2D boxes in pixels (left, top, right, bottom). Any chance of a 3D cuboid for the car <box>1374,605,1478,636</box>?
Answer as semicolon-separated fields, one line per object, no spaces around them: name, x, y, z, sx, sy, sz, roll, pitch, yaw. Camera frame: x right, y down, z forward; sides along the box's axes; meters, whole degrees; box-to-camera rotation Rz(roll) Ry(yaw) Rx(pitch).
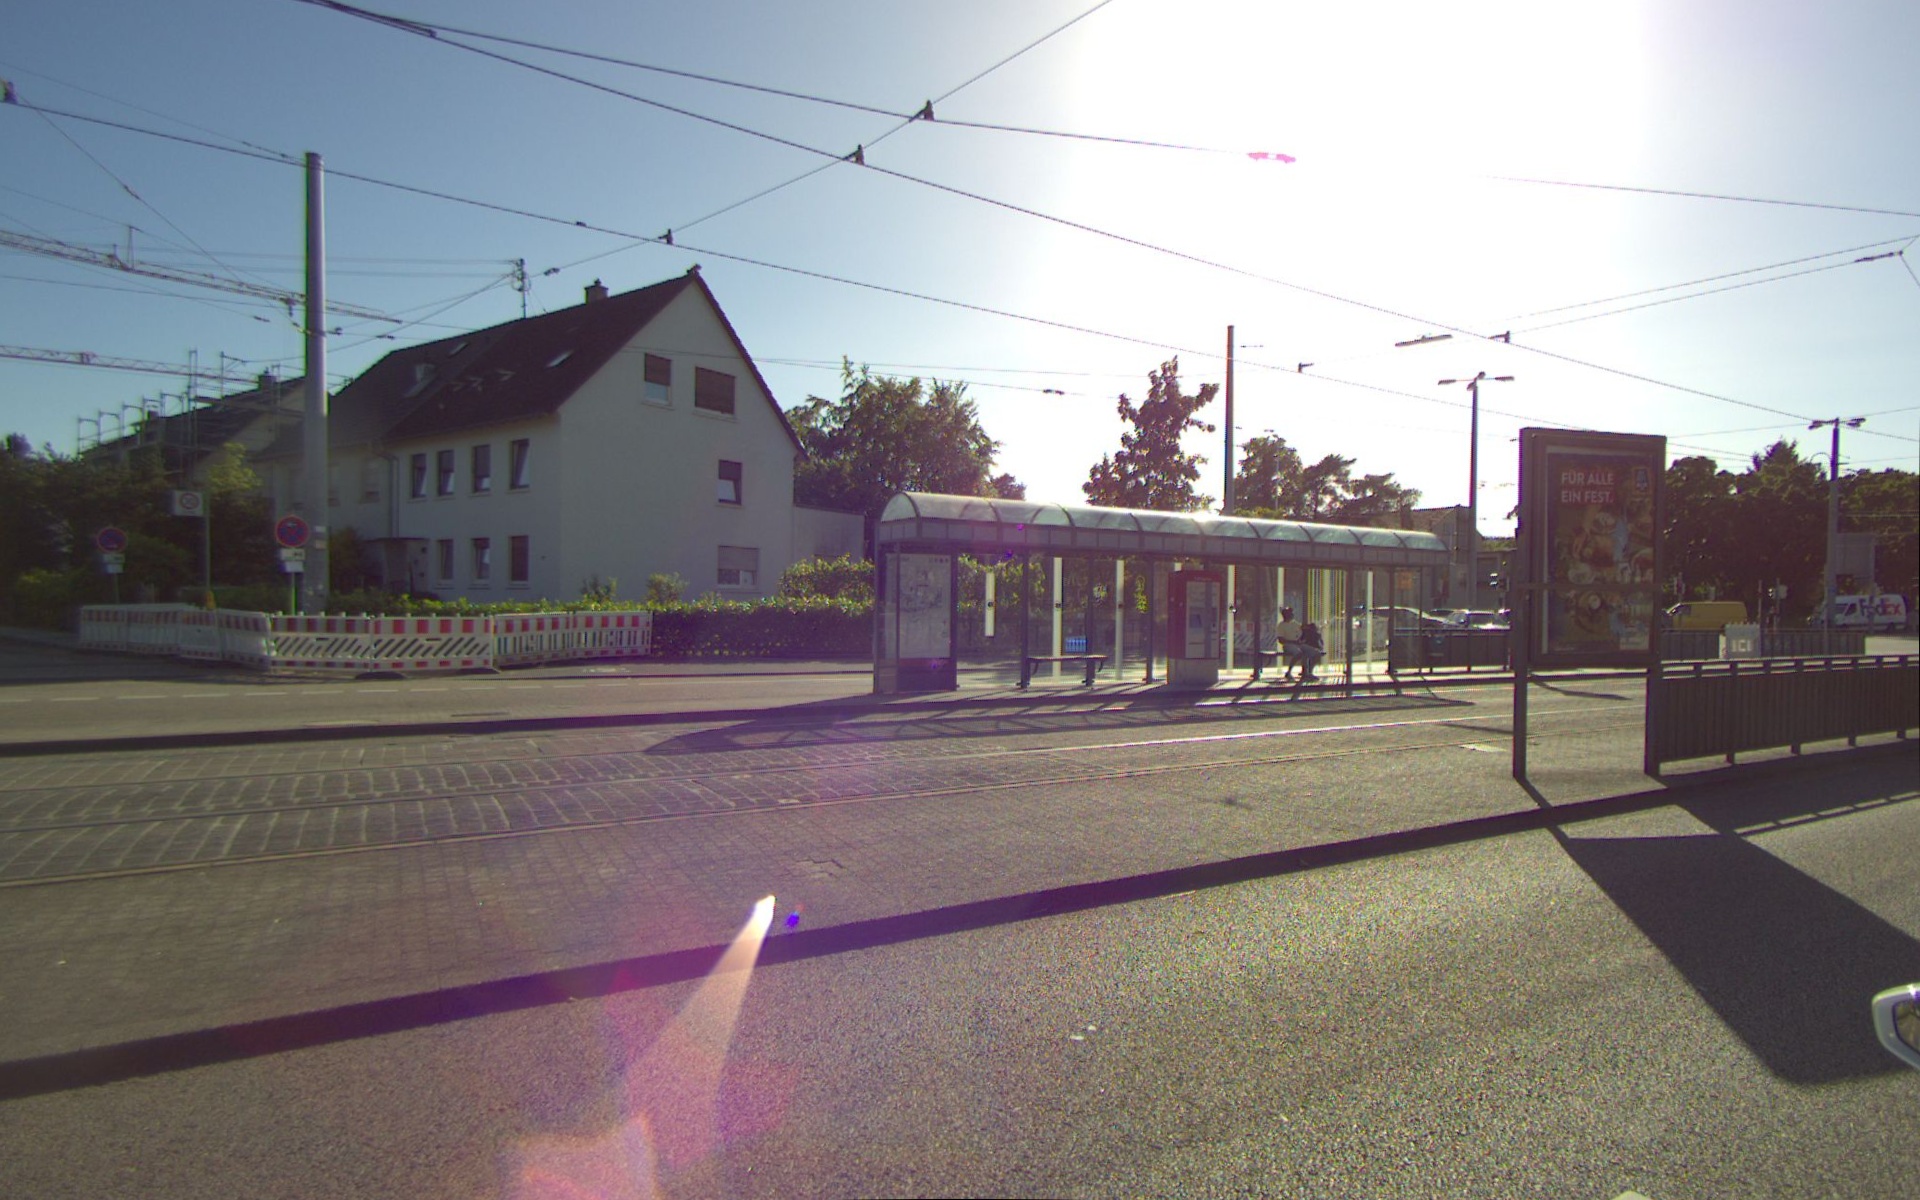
car;24.390;1.066;52.617;4.754;1.517;1.780;1;0;34

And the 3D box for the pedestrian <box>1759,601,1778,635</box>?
pedestrian;48.786;1.062;60.605;0.785;2.040;0.741;0;0;-42

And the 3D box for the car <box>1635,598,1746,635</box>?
car;42.731;0.949;58.956;5.084;1.905;1.994;3;1;34

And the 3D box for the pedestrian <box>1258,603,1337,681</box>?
pedestrian;6.589;0.797;19.633;0.996;1.472;1.055;1;-1;-31

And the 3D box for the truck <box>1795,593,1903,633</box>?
truck;59.048;0.871;66.718;6.709;2.599;1.994;1;0;-15

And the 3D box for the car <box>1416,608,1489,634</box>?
car;32.263;1.371;65.844;3.937;1.493;1.744;3;1;38
